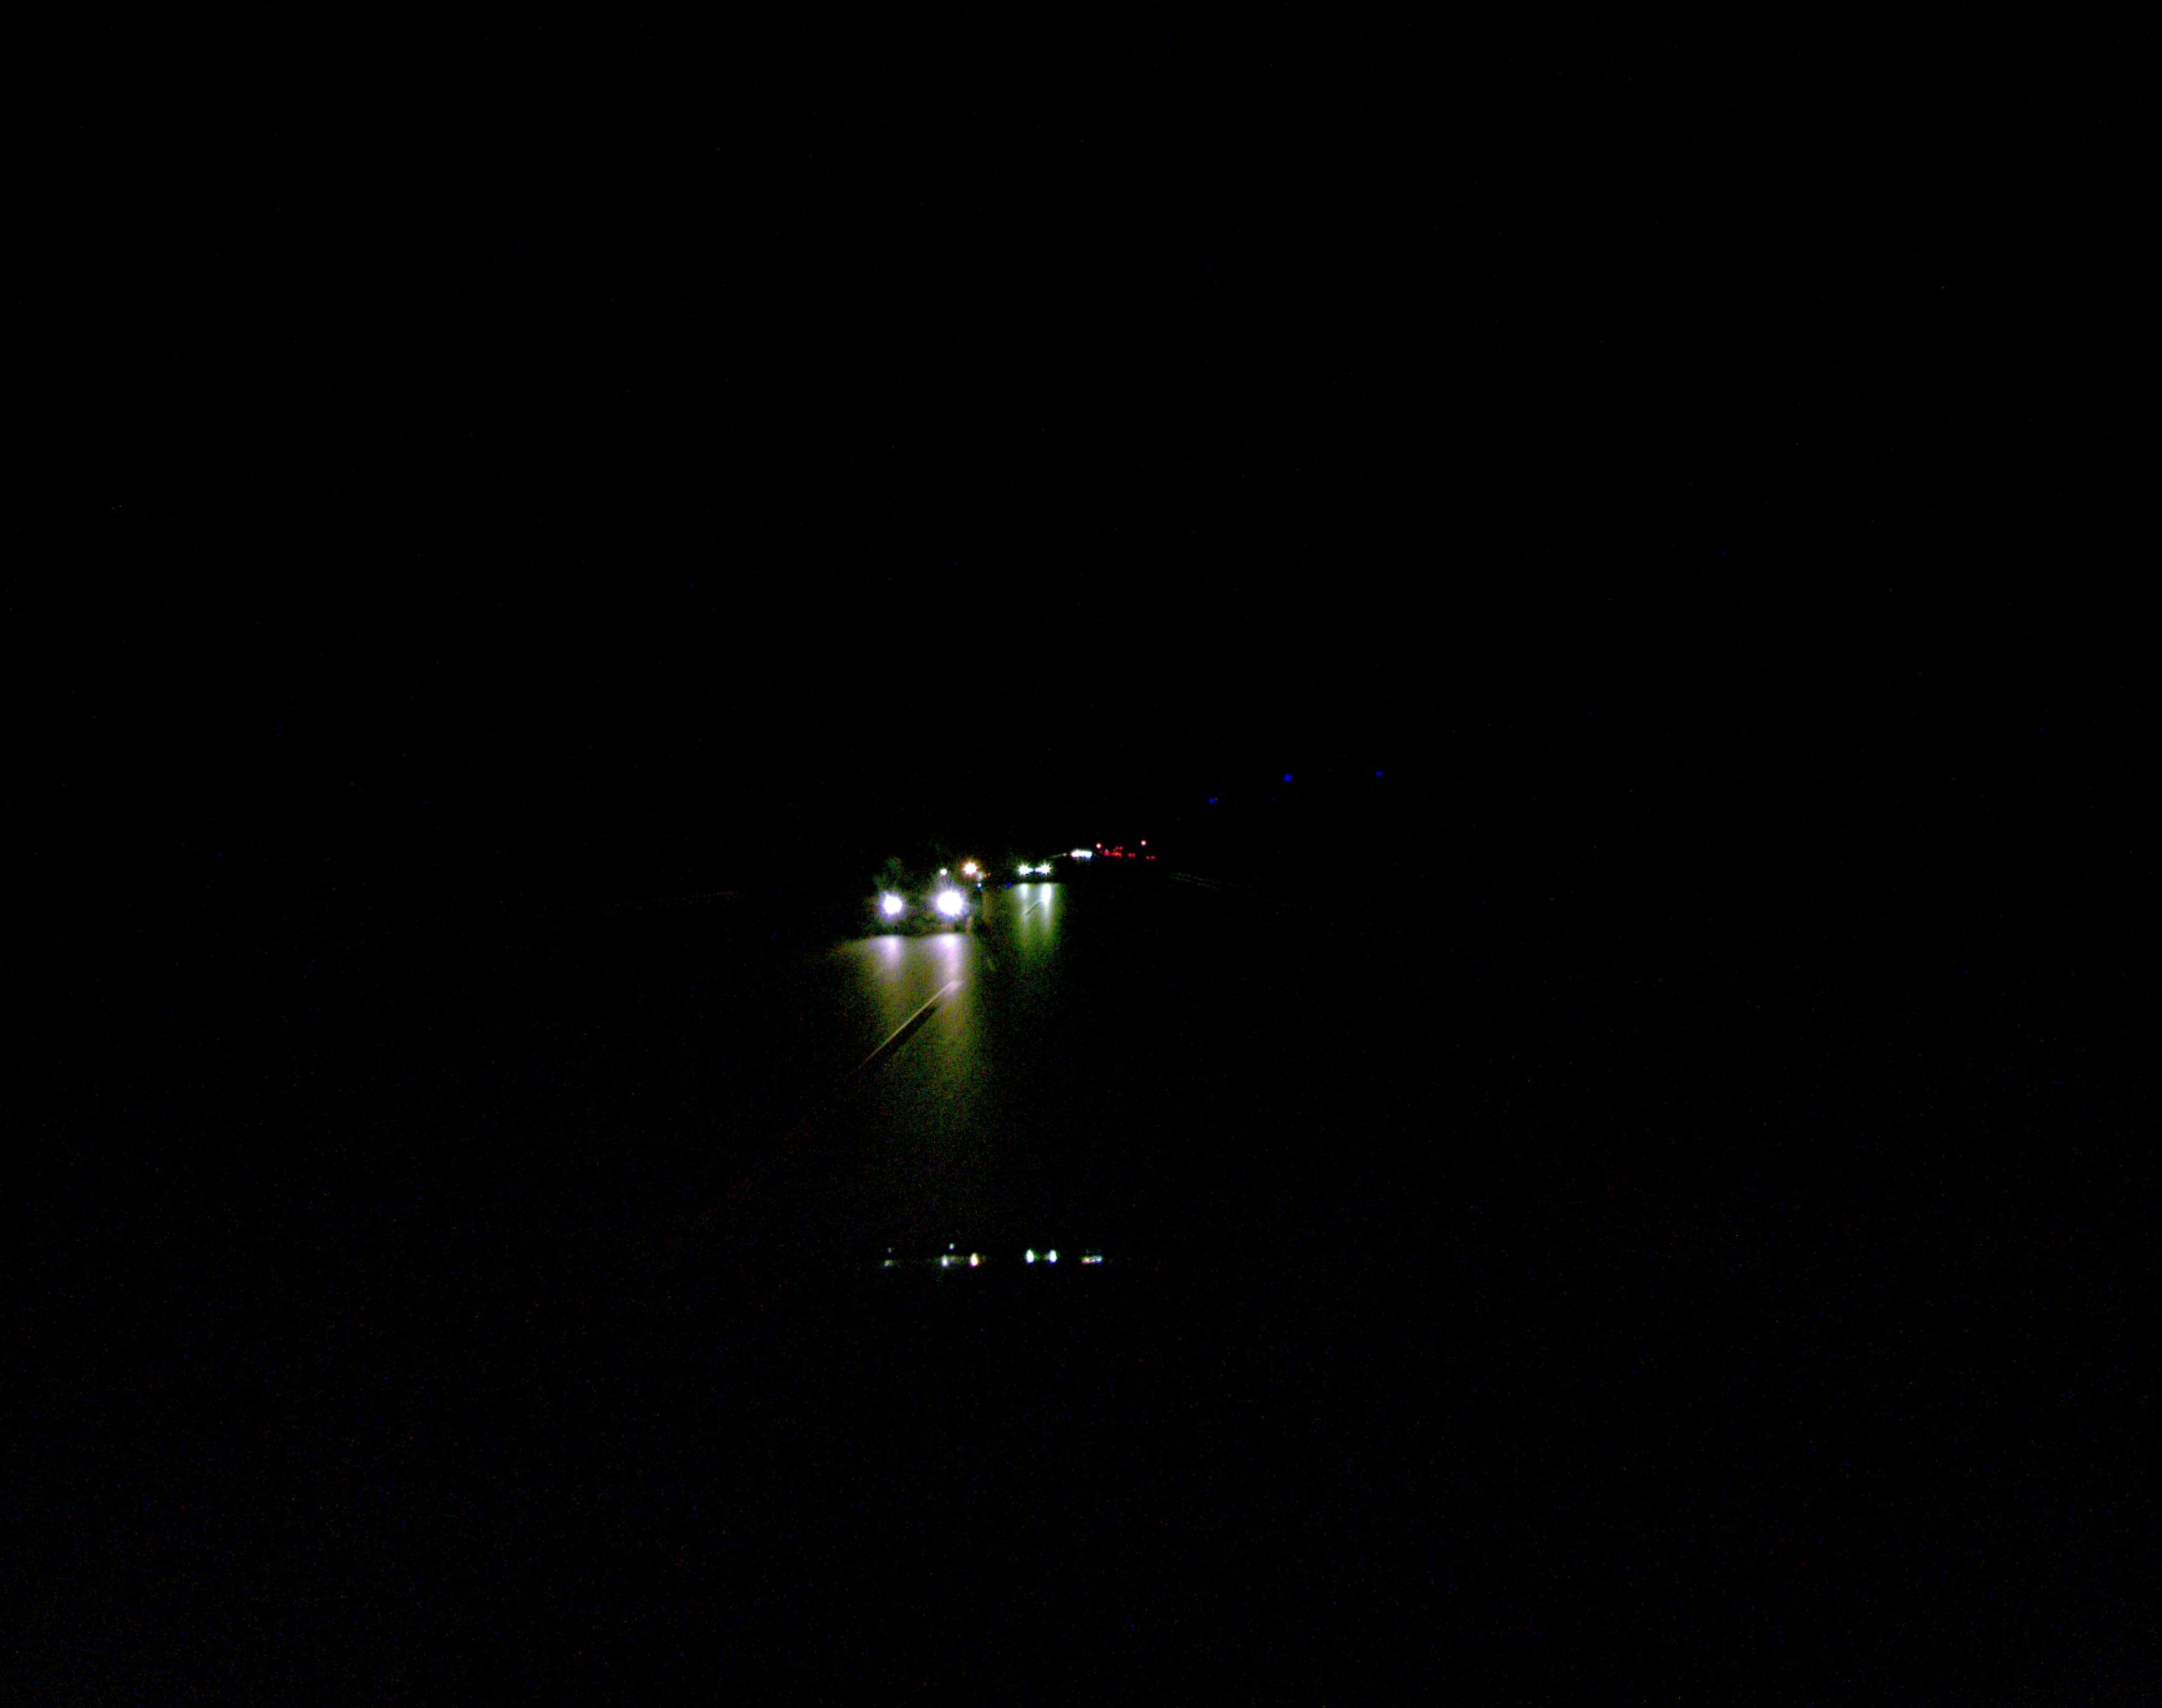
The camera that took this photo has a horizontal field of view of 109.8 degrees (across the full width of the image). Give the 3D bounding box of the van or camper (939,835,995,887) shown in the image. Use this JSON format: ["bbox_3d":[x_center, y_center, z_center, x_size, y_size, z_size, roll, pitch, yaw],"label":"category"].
[{"bbox_3d":[-6.549,0.379,44.489,2.213,2.755,6.803,-2,0,-1],"label":"van or camper"}]

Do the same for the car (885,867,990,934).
[{"bbox_3d":[-3.374,1.048,18.648,1.690,1.405,4.226,-1,0,1],"label":"car"}]

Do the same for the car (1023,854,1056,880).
[{"bbox_3d":[-2.642,0.813,49.430,1.795,1.532,4.225,-2,0,1],"label":"car"}]

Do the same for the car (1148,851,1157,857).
[{"bbox_3d":[19.358,0.017,205.516,1.999,1.495,5.200,1,0,-1],"label":"car"}]
